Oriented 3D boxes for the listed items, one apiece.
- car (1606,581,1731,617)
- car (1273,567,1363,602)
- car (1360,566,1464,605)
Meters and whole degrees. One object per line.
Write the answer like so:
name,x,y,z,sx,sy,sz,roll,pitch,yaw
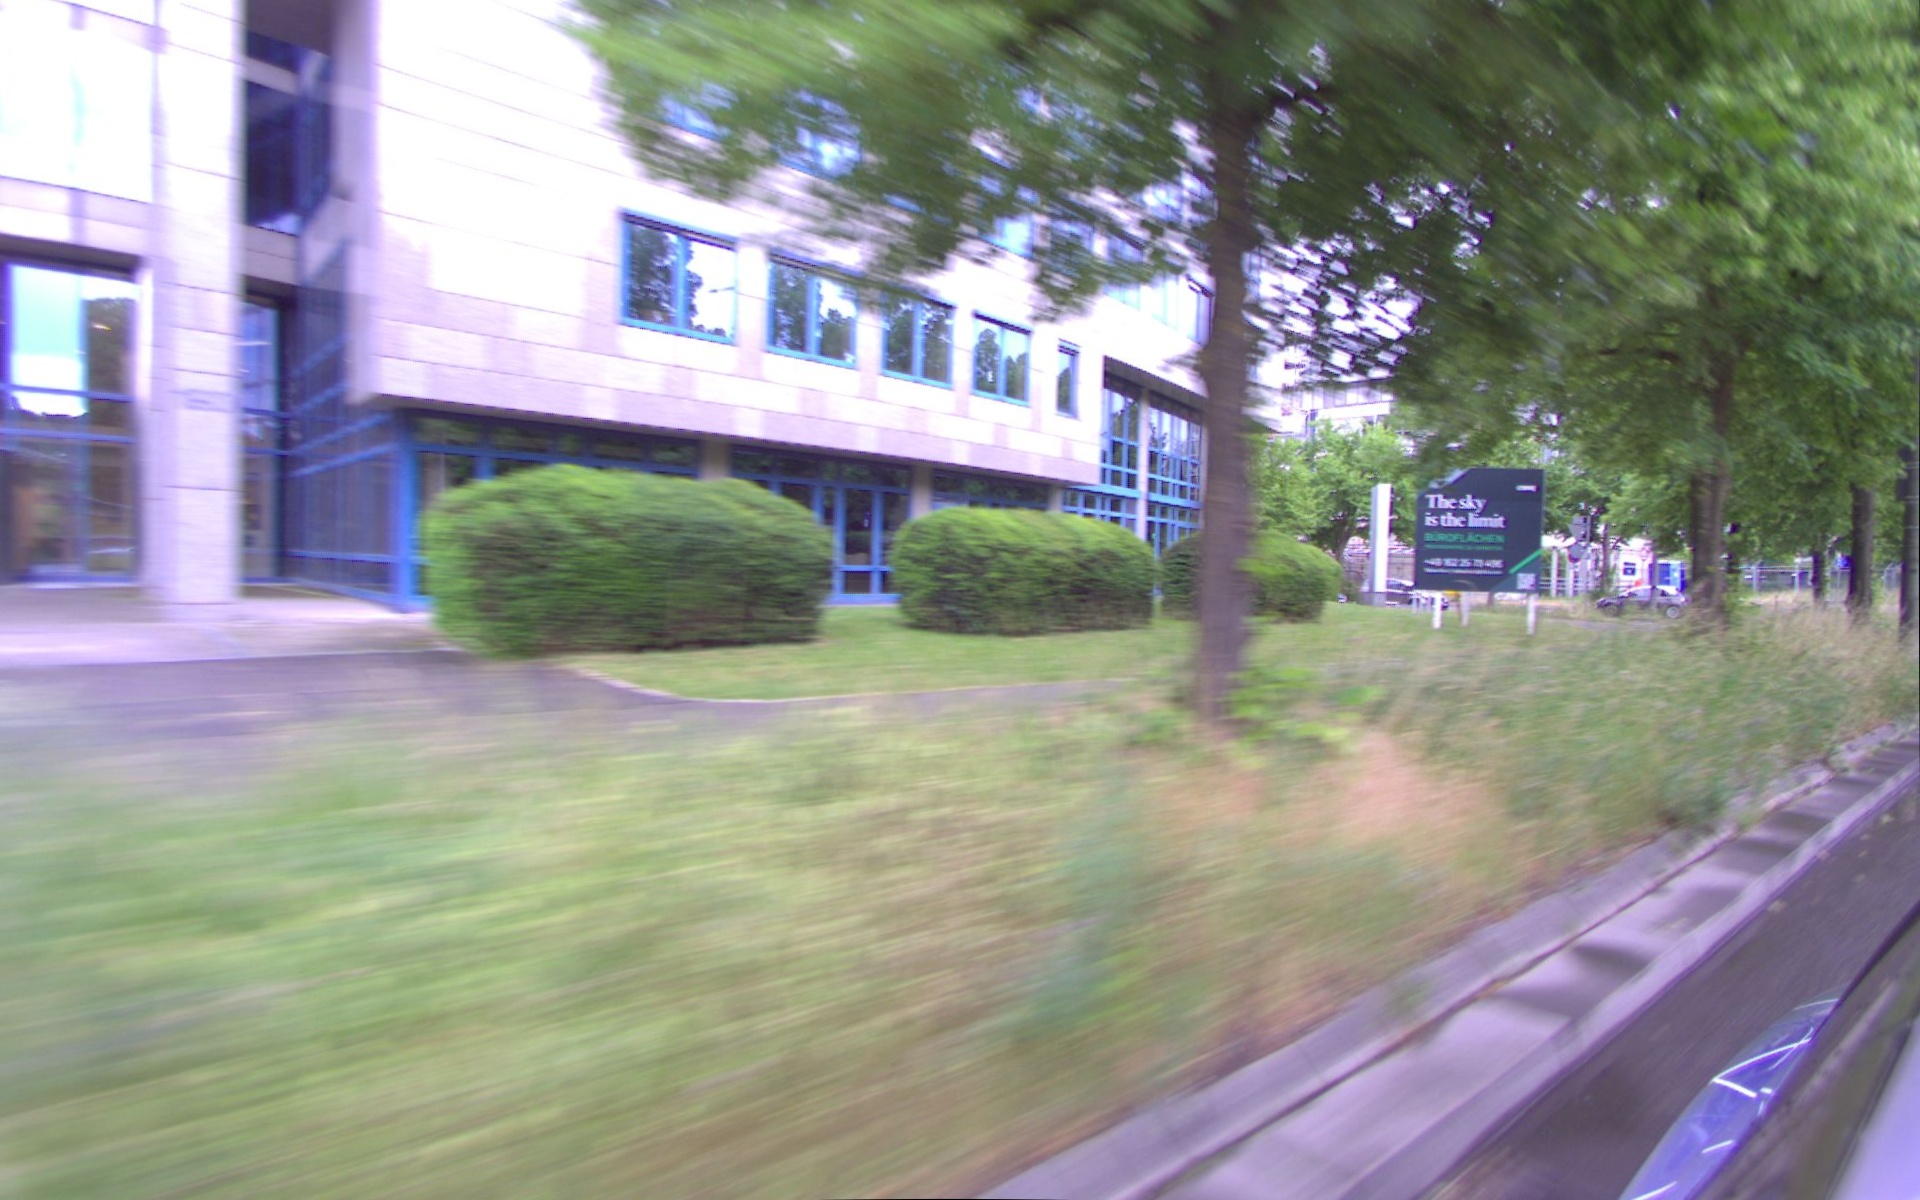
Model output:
car,31.229,-0.071,44.664,4.409,1.451,1.687,2,2,41
car,18.007,-0.797,51.072,1.722,1.598,4.115,2,1,-31
car,20.707,-0.698,46.528,1.722,1.662,4.115,2,1,-31
